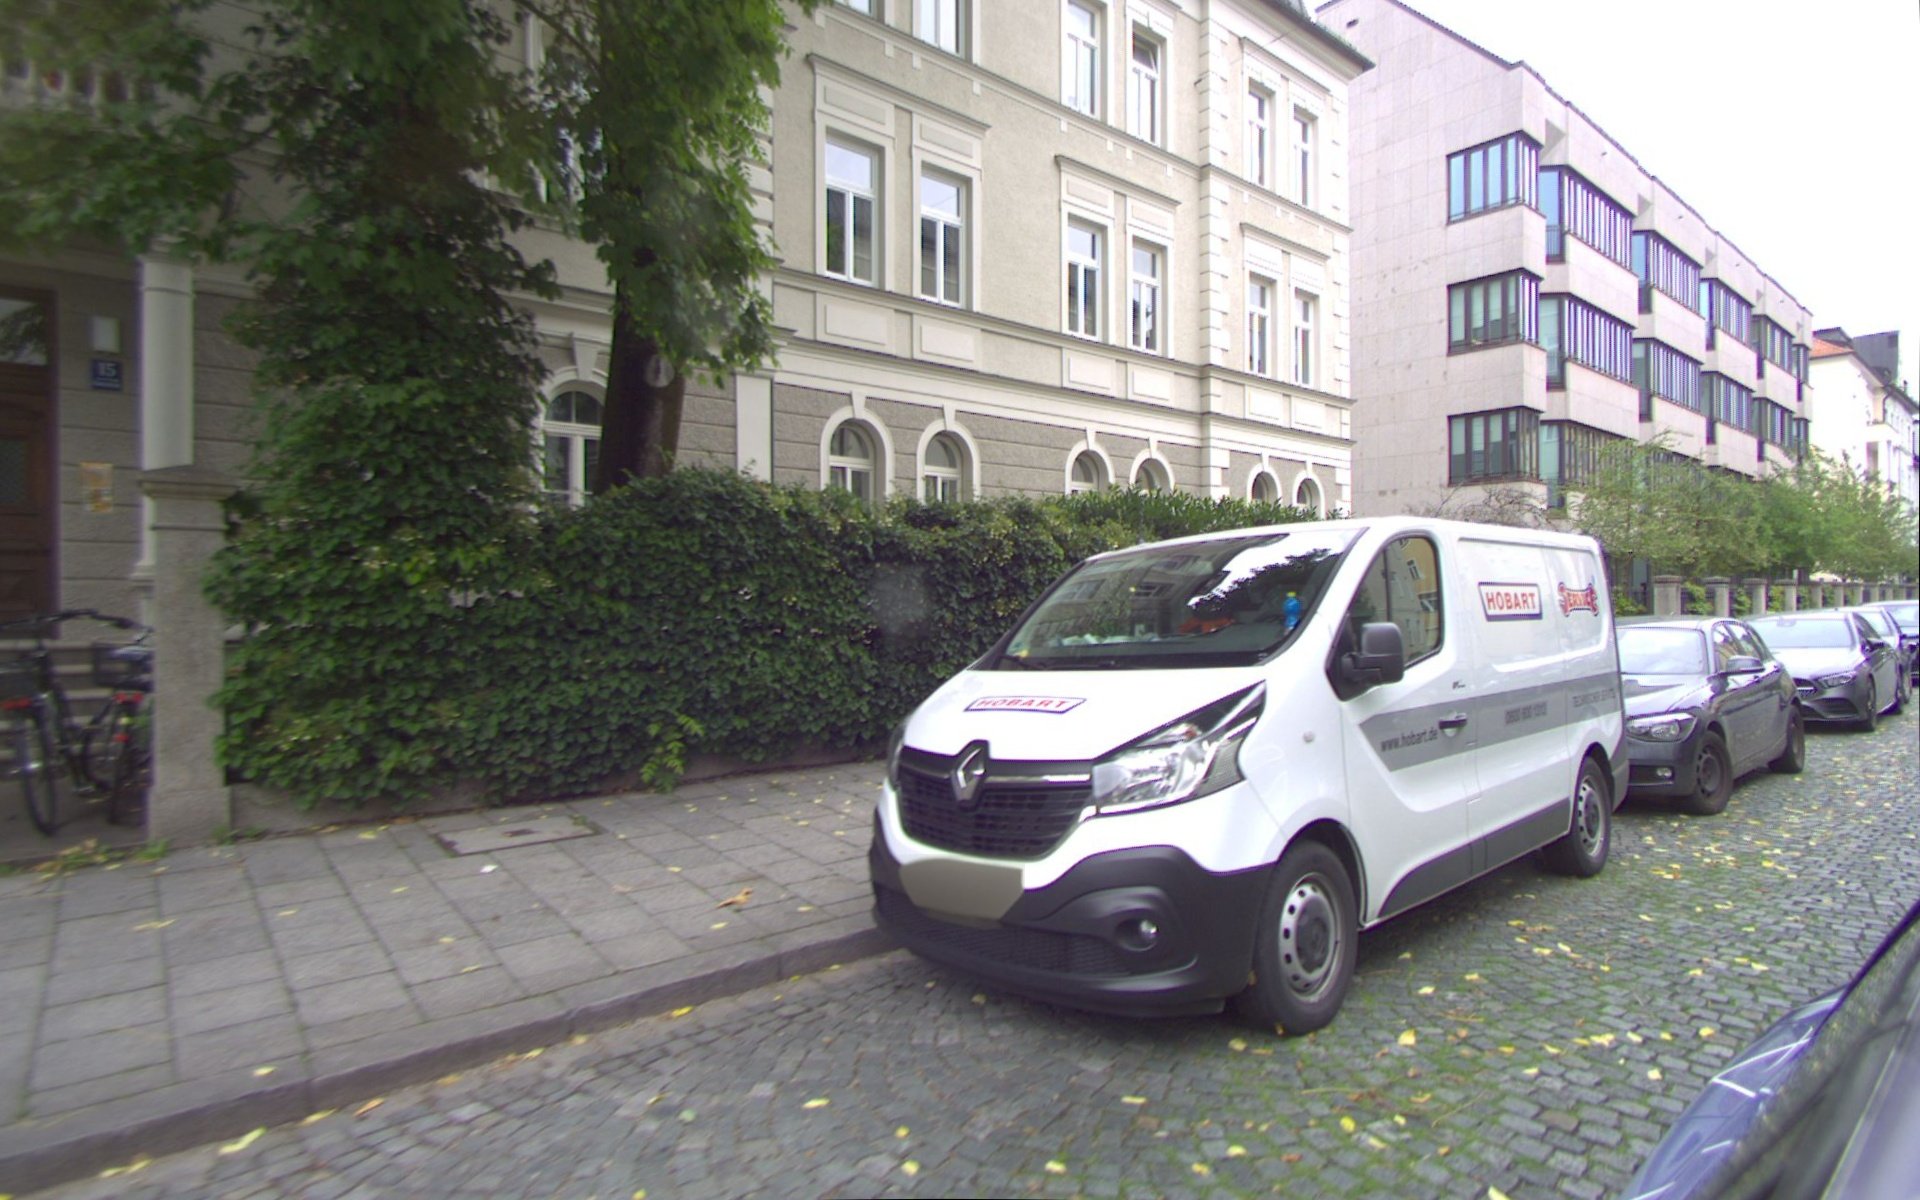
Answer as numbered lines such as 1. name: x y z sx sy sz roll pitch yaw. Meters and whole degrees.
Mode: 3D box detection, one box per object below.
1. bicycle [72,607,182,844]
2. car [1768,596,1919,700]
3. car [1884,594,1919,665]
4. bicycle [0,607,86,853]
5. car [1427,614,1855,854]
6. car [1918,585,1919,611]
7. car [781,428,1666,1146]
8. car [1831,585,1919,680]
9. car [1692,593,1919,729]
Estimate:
1. bicycle: -4.925 0.661 5.959 0.402 1.166 1.433 0 2 -43
2. car: 14.378 0.704 16.230 3.995 1.459 1.694 0 -3 -45
3. car: 22.510 0.625 22.713 4.532 1.510 1.877 0 -3 -38
4. bicycle: -5.296 0.662 5.702 0.497 1.166 1.495 0 2 -43
5. car: 6.009 0.932 8.731 4.342 1.509 1.840 0 -2 -39
6. car: 26.266 0.450 26.088 4.667 1.758 1.874 0 -3 -43
7. car: 1.776 0.531 5.185 5.076 1.953 1.875 0 -3 -42
8. car: 18.678 0.582 19.677 4.575 1.691 1.876 0 -2 -40
9. car: 11.110 0.694 13.093 4.194 1.491 1.715 0 -3 -41
